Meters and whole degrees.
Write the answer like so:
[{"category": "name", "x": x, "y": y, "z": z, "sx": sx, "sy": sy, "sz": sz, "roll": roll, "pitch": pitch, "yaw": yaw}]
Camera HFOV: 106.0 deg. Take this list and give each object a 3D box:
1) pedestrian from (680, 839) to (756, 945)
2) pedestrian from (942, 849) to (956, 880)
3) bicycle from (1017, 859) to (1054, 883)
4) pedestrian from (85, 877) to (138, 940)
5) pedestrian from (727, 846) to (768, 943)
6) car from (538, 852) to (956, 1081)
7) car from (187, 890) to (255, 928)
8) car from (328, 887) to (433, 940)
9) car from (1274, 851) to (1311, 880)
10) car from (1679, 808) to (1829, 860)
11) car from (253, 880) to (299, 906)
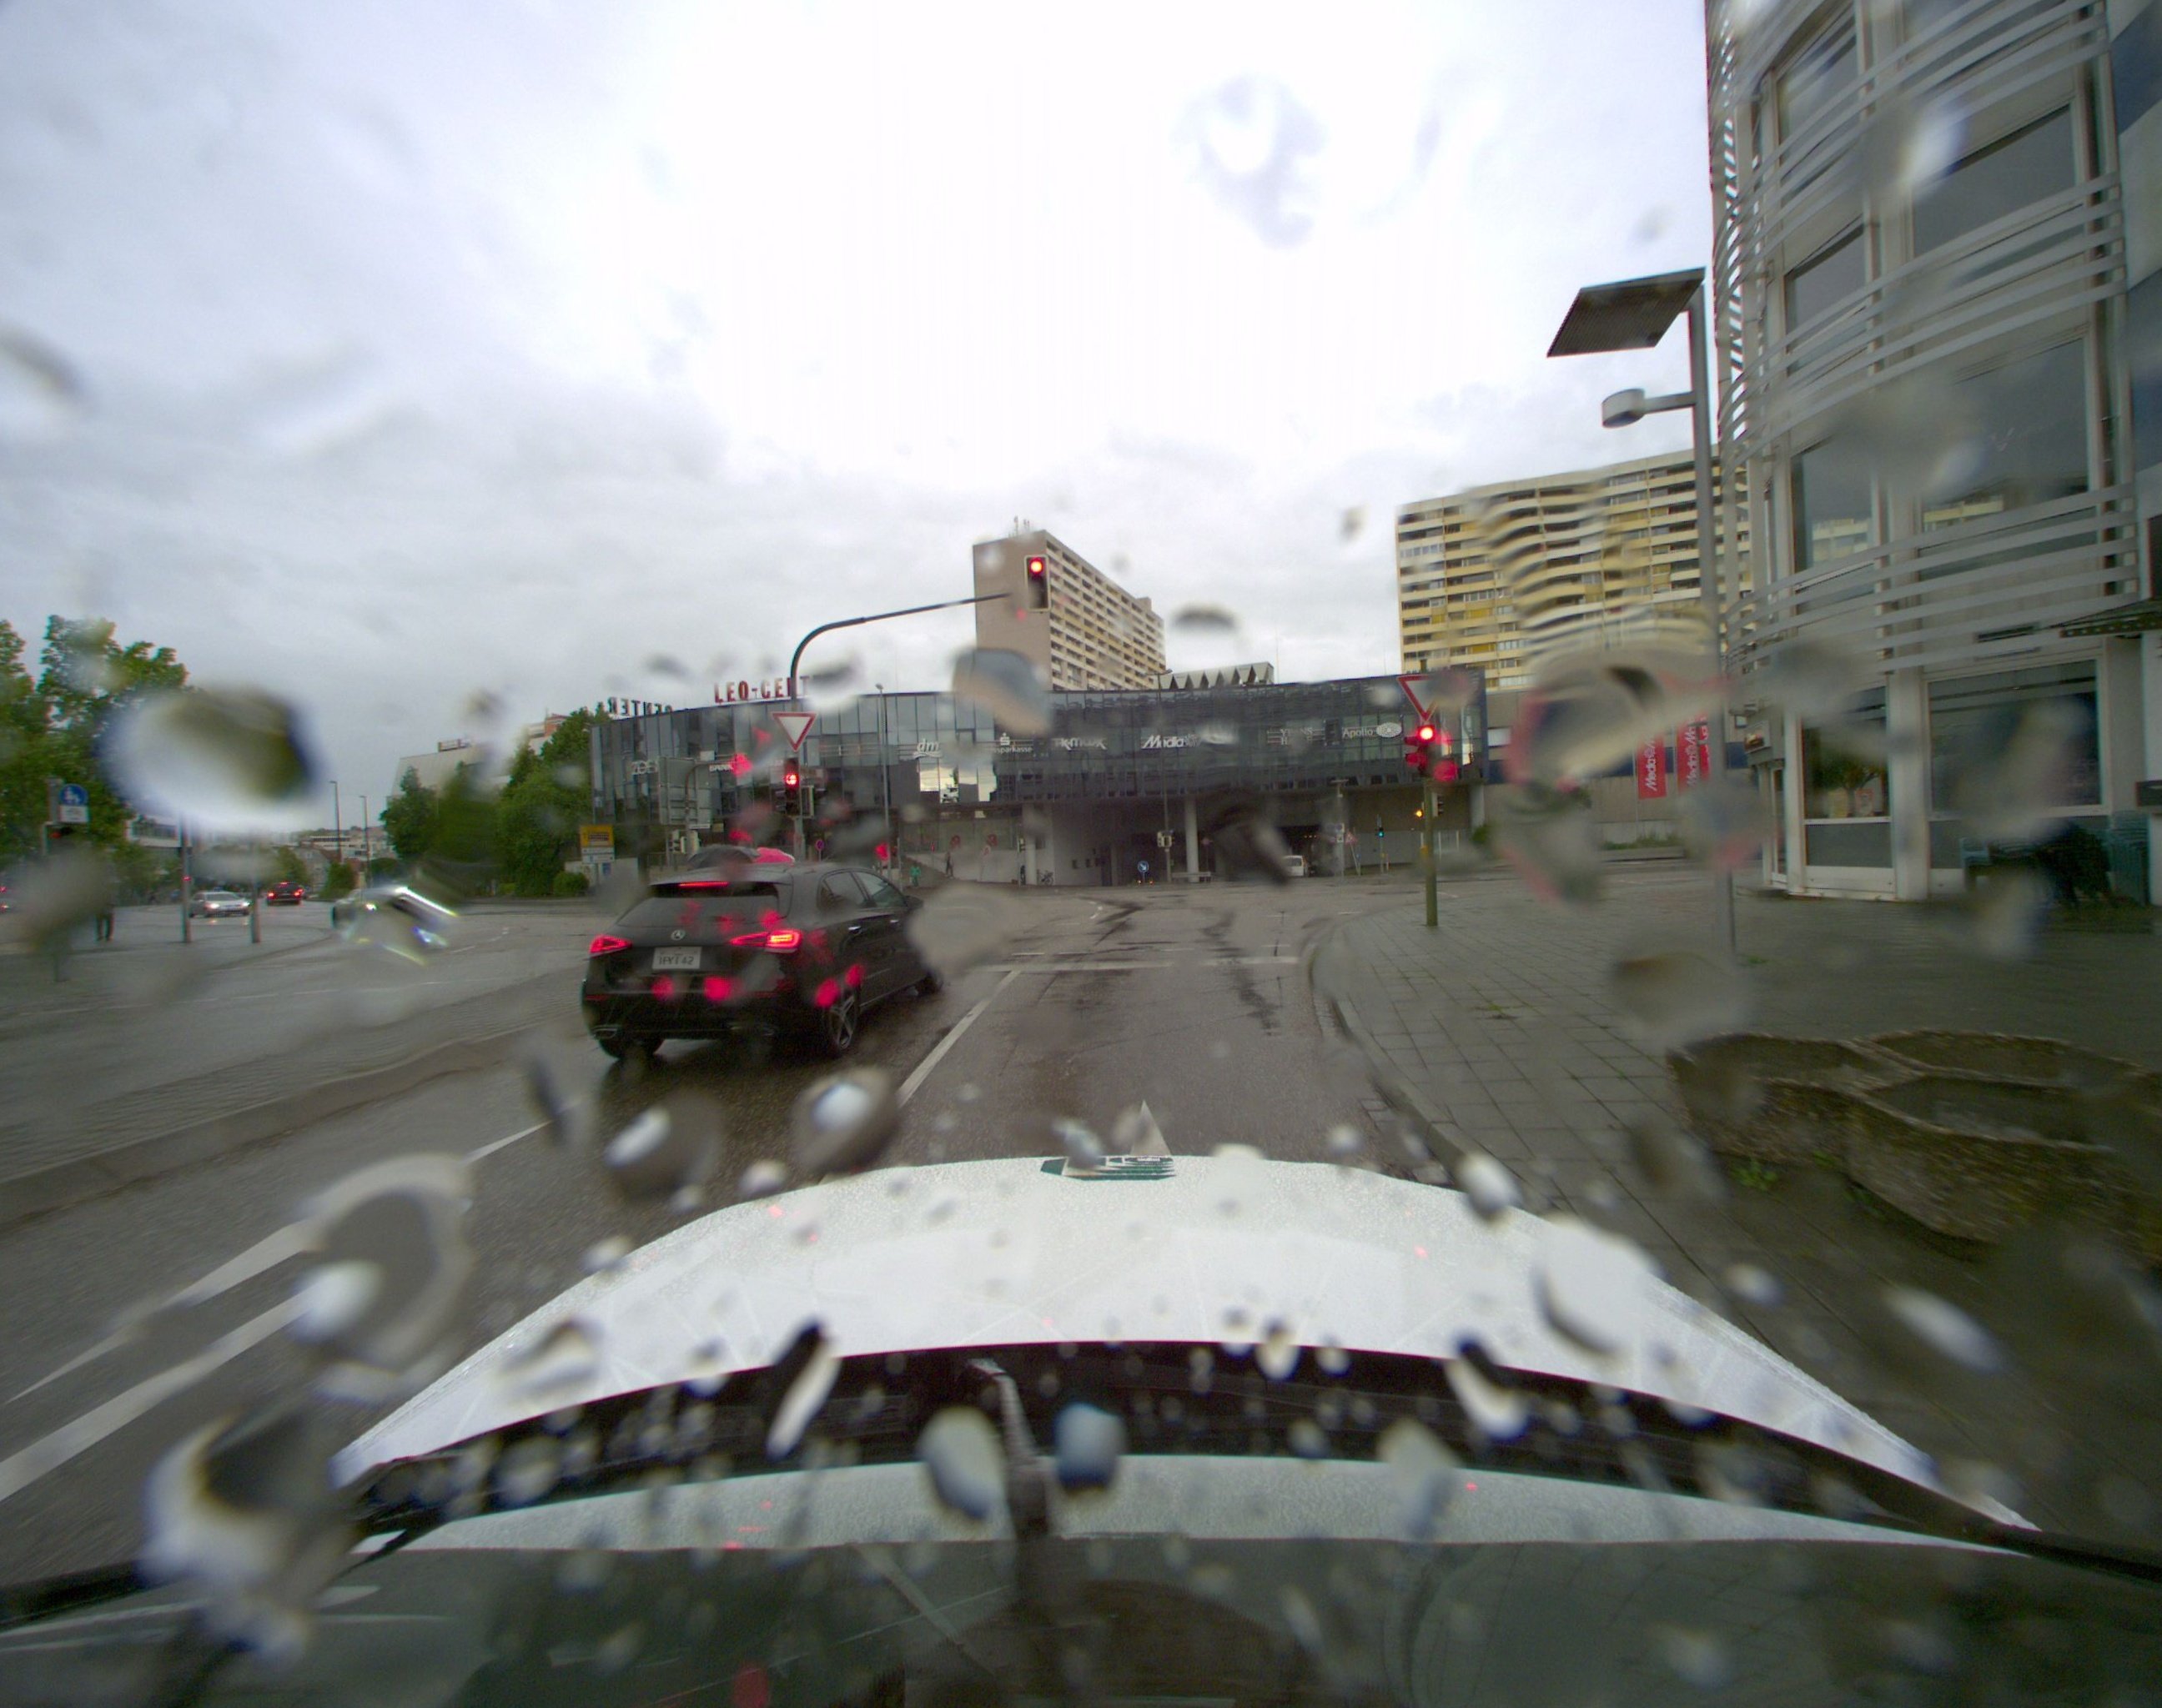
[{"category": "pedestrian", "x": -5.956, "y": 0.594, "z": 13.365, "sx": 0.917, "sy": 1.659, "sz": 0.746, "roll": 1, "pitch": 0, "yaw": -43}, {"category": "pedestrian", "x": -8.934, "y": 0.713, "z": 55.250, "sx": 0.786, "sy": 2.013, "sz": 0.669, "roll": -3, "pitch": 0, "yaw": -5}, {"category": "bicycle", "x": -3.132, "y": 1.165, "z": 56.139, "sx": 2.430, "sy": 1.464, "sz": 0.652, "roll": -2, "pitch": 2, "yaw": -18}, {"category": "pedestrian", "x": -32.399, "y": 1.787, "z": 27.242, "sx": 0.952, "sy": 2.013, "sz": 1.034, "roll": 1, "pitch": 0, "yaw": 44}, {"category": "pedestrian", "x": -5.893, "y": 0.696, "z": 14.421, "sx": 0.611, "sy": 1.659, "sz": 0.668, "roll": 1, "pitch": 0, "yaw": -20}, {"category": "car", "x": -2.523, "y": 0.746, "z": 7.372, "sx": 1.796, "sy": 1.419, "sz": 4.006, "roll": -3, "pitch": 0, "yaw": 5}, {"category": "car", "x": -50.831, "y": 3.259, "z": 48.140, "sx": 3.948, "sy": 2.013, "sz": 2.013, "roll": -3, "pitch": 0, "yaw": 33}, {"category": "car", "x": -25.607, "y": 2.102, "z": 29.746, "sx": 4.376, "sy": 1.512, "sz": 2.013, "roll": 2, "pitch": 0, "yaw": 37}, {"category": "car", "x": 14.123, "y": 0.713, "z": 54.202, "sx": 1.977, "sy": 1.717, "sz": 4.020, "roll": -3, "pitch": 0, "yaw": 20}, {"category": "car", "x": 25.844, "y": -0.749, "z": 31.462, "sx": 3.955, "sy": 1.717, "sz": 2.009, "roll": -3, "pitch": 0, "yaw": 17}, {"category": "car", "x": -70.024, "y": 3.380, "z": 70.826, "sx": 3.948, "sy": 2.013, "sz": 2.013, "roll": -3, "pitch": 0, "yaw": 33}]
